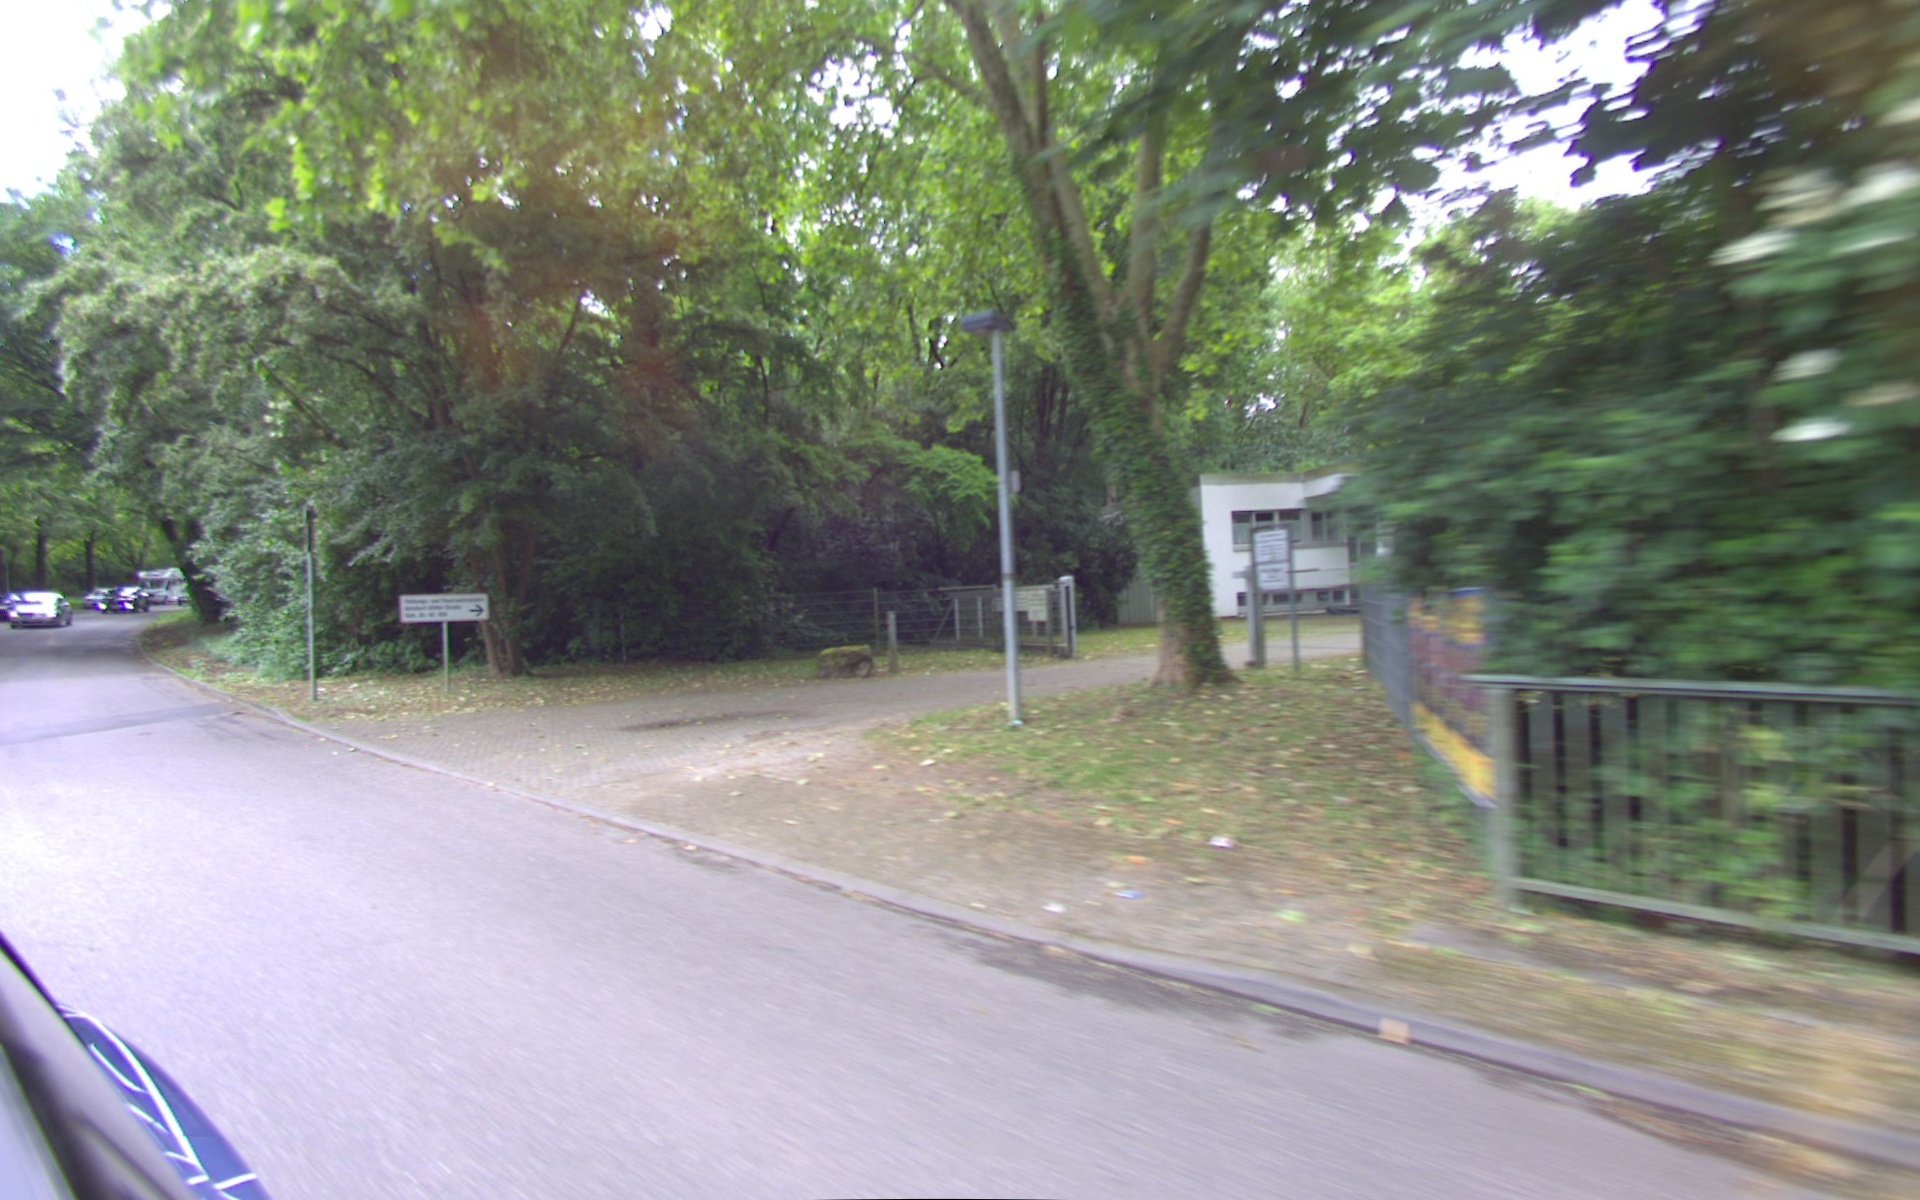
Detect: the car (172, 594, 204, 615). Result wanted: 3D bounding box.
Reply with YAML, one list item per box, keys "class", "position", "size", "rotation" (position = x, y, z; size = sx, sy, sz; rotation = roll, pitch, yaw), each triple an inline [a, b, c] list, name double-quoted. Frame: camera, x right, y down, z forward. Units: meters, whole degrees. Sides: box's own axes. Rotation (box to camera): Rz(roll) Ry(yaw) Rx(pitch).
- class: "car"
  position: [-62.062, 0.335, 81.391]
  size: [1.740, 1.580, 4.056]
  rotation: [-2, 2, -34]

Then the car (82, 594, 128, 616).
- class: "car"
  position: [-62.457, 0.314, 73.993]
  size: [1.665, 1.493, 4.120]
  rotation: [-2, 2, -27]

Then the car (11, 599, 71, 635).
- class: "car"
  position: [-43.603, 0.762, 48.067]
  size: [1.629, 1.580, 4.055]
  rotation: [-2, 2, -36]

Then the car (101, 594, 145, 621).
- class: "car"
  position: [-53.365, 0.455, 64.613]
  size: [1.740, 1.580, 4.056]
  rotation: [-2, 2, -34]

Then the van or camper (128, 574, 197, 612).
- class: "van or camper"
  position: [-66.881, -0.626, 85.044]
  size: [2.390, 3.002, 7.418]
  rotation: [-2, 1, -21]
